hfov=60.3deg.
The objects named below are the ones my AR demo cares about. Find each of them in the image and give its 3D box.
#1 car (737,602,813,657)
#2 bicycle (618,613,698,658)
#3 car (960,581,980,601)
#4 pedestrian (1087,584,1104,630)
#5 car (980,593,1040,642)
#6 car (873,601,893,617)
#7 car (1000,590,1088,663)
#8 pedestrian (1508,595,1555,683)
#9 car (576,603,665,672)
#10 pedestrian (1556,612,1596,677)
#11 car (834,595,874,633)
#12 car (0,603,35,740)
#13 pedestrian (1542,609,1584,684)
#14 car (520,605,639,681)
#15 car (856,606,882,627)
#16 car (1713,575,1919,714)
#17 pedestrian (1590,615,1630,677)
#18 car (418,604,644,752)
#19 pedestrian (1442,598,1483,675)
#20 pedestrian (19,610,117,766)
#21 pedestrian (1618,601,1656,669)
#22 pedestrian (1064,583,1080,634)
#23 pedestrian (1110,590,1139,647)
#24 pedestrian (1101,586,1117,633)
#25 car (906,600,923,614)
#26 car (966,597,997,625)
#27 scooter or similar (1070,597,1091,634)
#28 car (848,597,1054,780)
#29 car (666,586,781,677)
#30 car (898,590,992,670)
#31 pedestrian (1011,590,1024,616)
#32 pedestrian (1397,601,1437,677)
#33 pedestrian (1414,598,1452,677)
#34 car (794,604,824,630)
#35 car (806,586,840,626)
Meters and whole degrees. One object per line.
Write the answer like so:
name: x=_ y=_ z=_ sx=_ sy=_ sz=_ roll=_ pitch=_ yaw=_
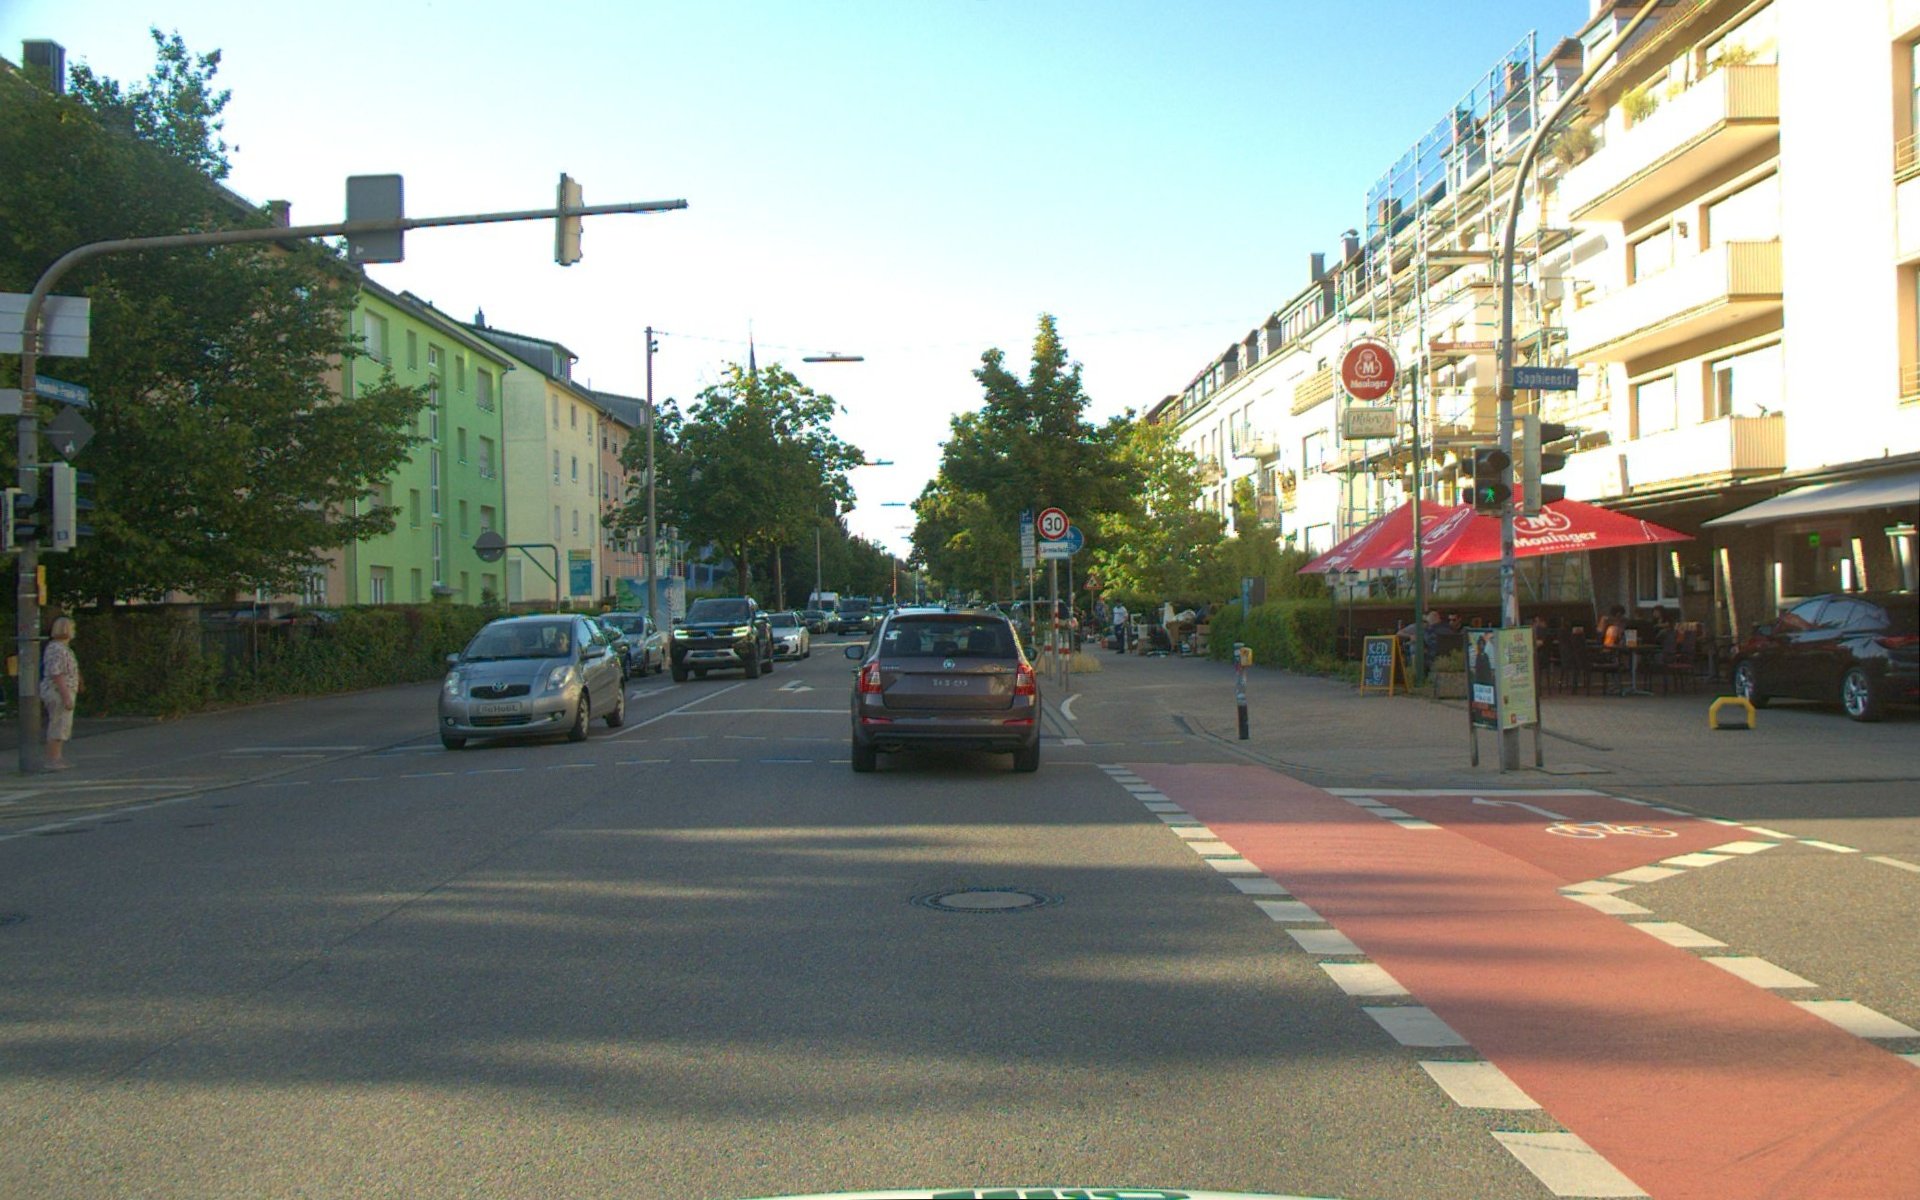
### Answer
car: x=-5.579 y=0.860 z=50.484 sx=1.799 sy=1.499 sz=4.670 roll=-3 pitch=0 yaw=-1
bicycle: x=-8.014 y=0.936 z=43.975 sx=1.964 sy=1.108 sz=0.583 roll=2 pitch=-1 yaw=0
car: x=0.892 y=-0.778 z=148.508 sx=1.718 sy=1.716 sz=4.252 roll=0 pitch=0 yaw=1
pedestrian: x=5.088 y=0.273 z=62.209 sx=0.500 sy=1.726 sz=0.526 roll=-1 pitch=0 yaw=-6
car: x=1.753 y=0.604 z=59.266 sx=1.688 sy=1.684 sz=4.594 roll=-1 pitch=0 yaw=-4
car: x=-7.702 y=0.884 z=166.264 sx=1.665 sy=1.496 sz=4.295 roll=-2 pitch=0 yaw=1
car: x=1.984 y=0.607 z=40.036 sx=1.756 sy=1.660 sz=4.028 roll=-1 pitch=0 yaw=-2
pedestrian: x=8.643 y=0.582 z=25.016 sx=0.513 sy=1.305 sz=0.540 roll=-1 pitch=-1 yaw=1
car: x=-8.323 y=0.887 z=40.832 sx=1.604 sy=1.579 sz=3.783 roll=-1 pitch=0 yaw=-4
pedestrian: x=10.226 y=0.731 z=27.477 sx=0.513 sy=1.067 sz=0.413 roll=-1 pitch=-1 yaw=5
car: x=-5.957 y=0.790 z=93.434 sx=1.953 sy=1.980 sz=4.776 roll=-3 pitch=0 yaw=-1
car: x=-13.711 y=0.840 z=19.495 sx=4.500 sy=1.642 sz=1.842 roll=0 pitch=0 yaw=-4
pedestrian: x=9.473 y=0.730 z=25.980 sx=0.513 sy=1.170 sz=0.413 roll=-1 pitch=-1 yaw=5
car: x=-8.203 y=0.892 z=35.964 sx=1.619 sy=1.505 sz=3.943 roll=-1 pitch=0 yaw=0
car: x=-7.031 y=1.272 z=128.244 sx=1.795 sy=1.496 sz=4.450 roll=-4 pitch=0 yaw=-2
car: x=11.070 y=0.474 z=20.152 sx=1.791 sy=1.510 sz=4.203 roll=-1 pitch=0 yaw=-1
pedestrian: x=10.770 y=0.754 z=27.411 sx=0.513 sy=1.008 sz=0.413 roll=-1 pitch=-1 yaw=5
car: x=-5.217 y=0.885 z=20.645 sx=1.768 sy=1.584 sz=3.999 roll=-2 pitch=0 yaw=-1
pedestrian: x=7.824 y=0.564 z=25.757 sx=0.476 sy=1.170 sz=0.526 roll=-1 pitch=-1 yaw=3
pedestrian: x=-9.593 y=0.934 z=17.817 sx=0.594 sy=1.622 sz=0.749 roll=2 pitch=-1 yaw=-4
pedestrian: x=12.126 y=0.628 z=29.624 sx=0.513 sy=1.210 sz=0.413 roll=-1 pitch=-2 yaw=5
pedestrian: x=4.187 y=0.315 z=61.869 sx=0.537 sy=1.882 sz=0.765 roll=-1 pitch=0 yaw=6
pedestrian: x=4.692 y=0.529 z=47.182 sx=0.547 sy=1.595 sz=0.744 roll=-1 pitch=0 yaw=-19
pedestrian: x=5.532 y=0.365 z=61.415 sx=0.500 sy=1.726 sz=0.526 roll=-1 pitch=0 yaw=-6
car: x=-6.229 y=0.968 z=223.985 sx=1.955 sy=1.780 sz=3.994 roll=-1 pitch=0 yaw=-6
car: x=1.290 y=0.641 z=99.673 sx=1.683 sy=1.629 sz=4.095 roll=-1 pitch=0 yaw=-1
scooter or similar: x=4.515 y=0.575 z=61.839 sx=0.730 sy=1.340 sz=0.721 roll=-1 pitch=0 yaw=6
car: x=-0.055 y=0.740 z=15.850 sx=1.718 sy=1.518 sz=4.000 roll=0 pitch=0 yaw=1
car: x=-5.365 y=0.684 z=38.170 sx=1.824 sy=1.861 sz=5.227 roll=-3 pitch=0 yaw=0
car: x=-0.353 y=0.643 z=35.477 sx=1.854 sy=1.533 sz=3.788 roll=2 pitch=-1 yaw=-2
pedestrian: x=4.247 y=0.224 z=121.791 sx=0.781 sy=1.893 sz=0.951 roll=-2 pitch=0 yaw=10
pedestrian: x=7.106 y=0.603 z=25.739 sx=0.483 sy=1.170 sz=0.526 roll=-1 pitch=-1 yaw=3
pedestrian: x=7.079 y=0.555 z=24.785 sx=0.403 sy=1.170 sz=0.632 roll=-1 pitch=-1 yaw=3
car: x=-9.189 y=1.032 z=100.948 sx=1.579 sy=1.499 sz=3.812 roll=1 pitch=0 yaw=-1
car: x=-9.261 y=0.392 z=112.214 sx=1.953 sy=2.662 sz=7.103 roll=0 pitch=0 yaw=-2
